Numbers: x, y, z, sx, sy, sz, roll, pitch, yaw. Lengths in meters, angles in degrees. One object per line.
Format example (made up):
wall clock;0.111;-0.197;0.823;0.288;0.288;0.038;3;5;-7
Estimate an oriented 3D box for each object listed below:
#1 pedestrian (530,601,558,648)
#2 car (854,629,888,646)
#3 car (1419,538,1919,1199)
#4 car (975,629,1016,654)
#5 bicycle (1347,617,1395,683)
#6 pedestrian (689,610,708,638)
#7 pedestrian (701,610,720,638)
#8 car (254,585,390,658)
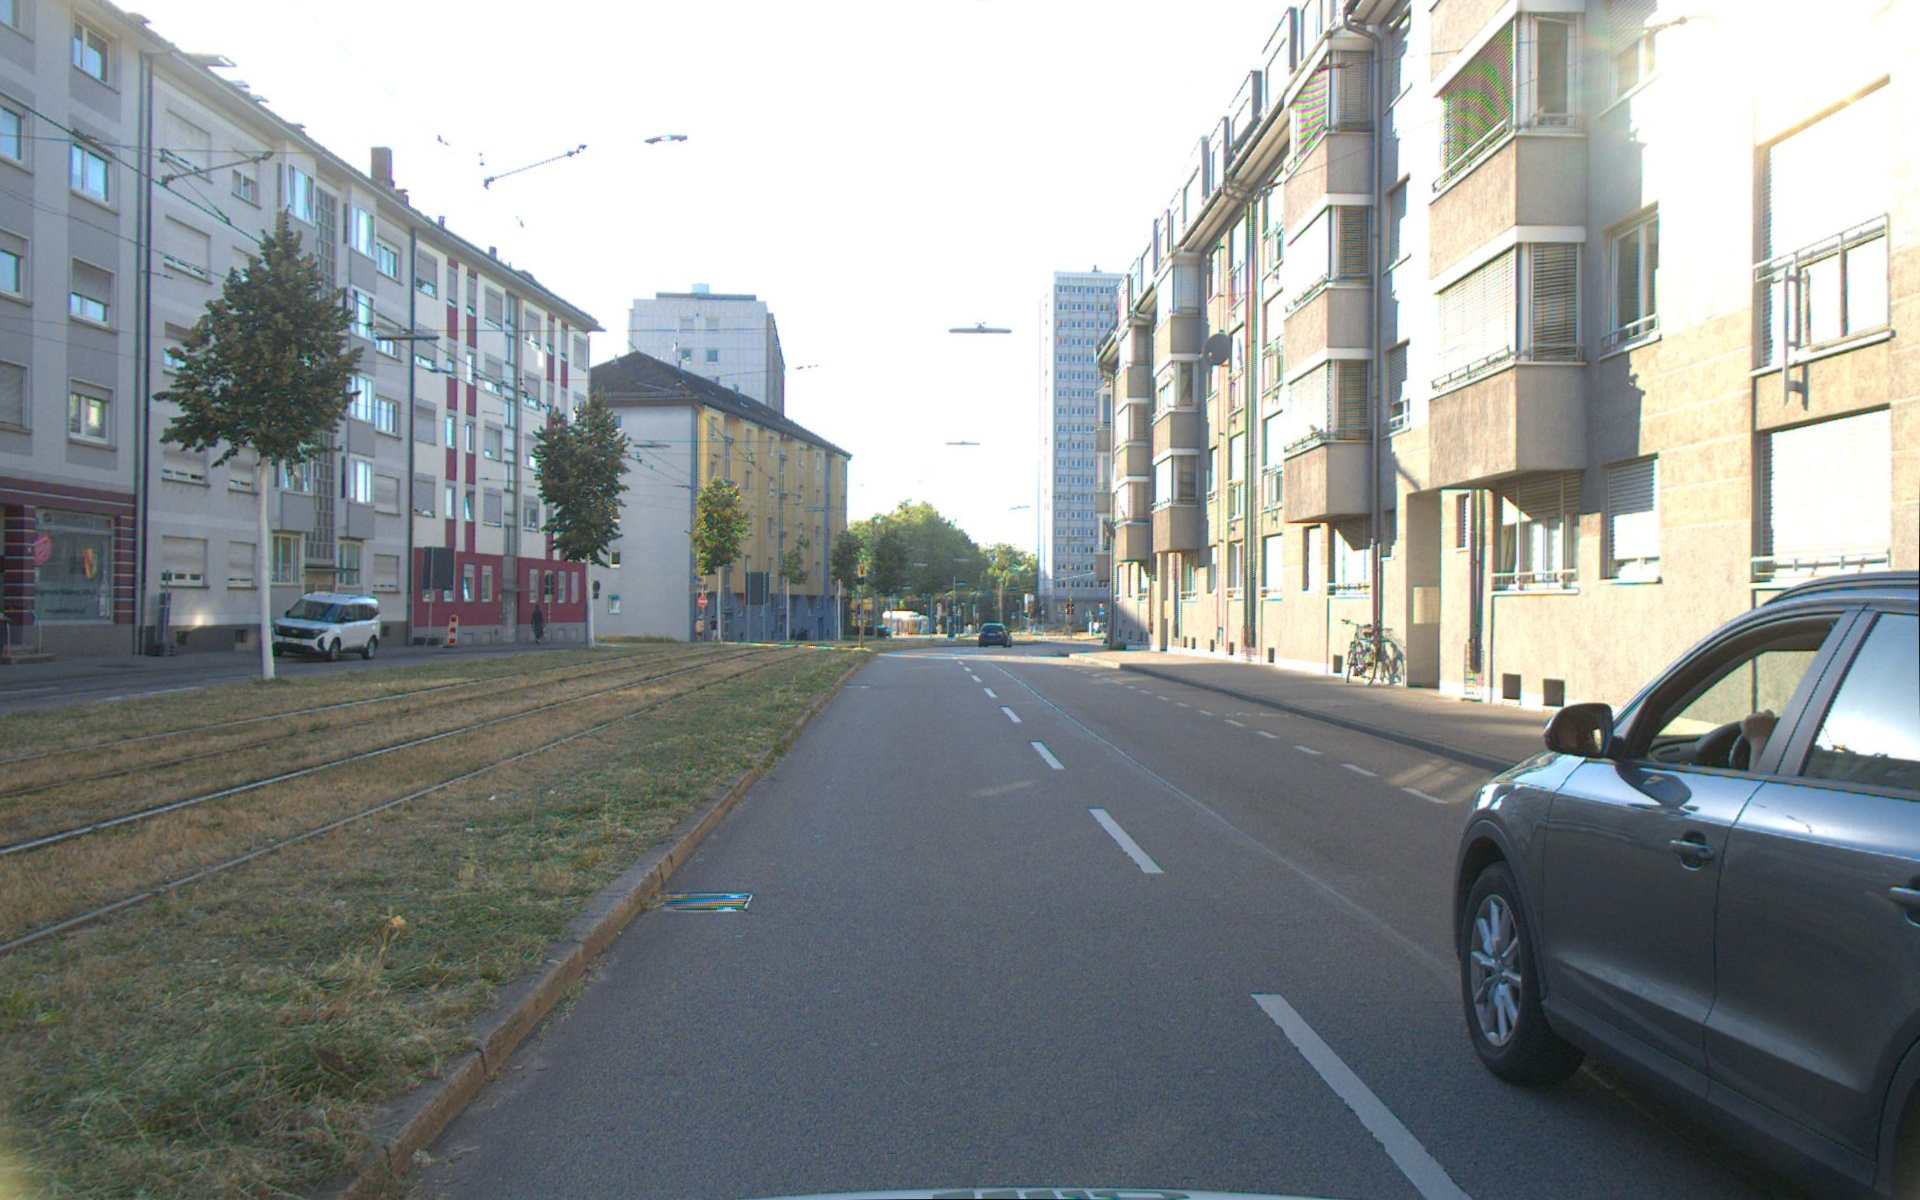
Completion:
pedestrian;-18.829;1.103;74.889;0.984;2.071;0.886;1;-1;3
car;-10.665;4.511;197.914;3.903;2.049;2.001;0;0;4
car;2.563;0.719;4.021;1.663;1.580;4.224;1;-1;-1
car;2.201;2.531;101.265;1.885;1.482;4.331;1;-1;10
bicycle;7.141;0.857;28.803;0.376;1.115;1.503;0;-1;-3
pedestrian;-16.247;1.485;102.771;0.942;1.723;1.011;1;-1;4
pedestrian;-15.501;1.498;102.843;0.942;1.699;1.011;1;-1;4
car;-18.299;0.624;47.674;1.952;1.959;4.543;2;-1;2
